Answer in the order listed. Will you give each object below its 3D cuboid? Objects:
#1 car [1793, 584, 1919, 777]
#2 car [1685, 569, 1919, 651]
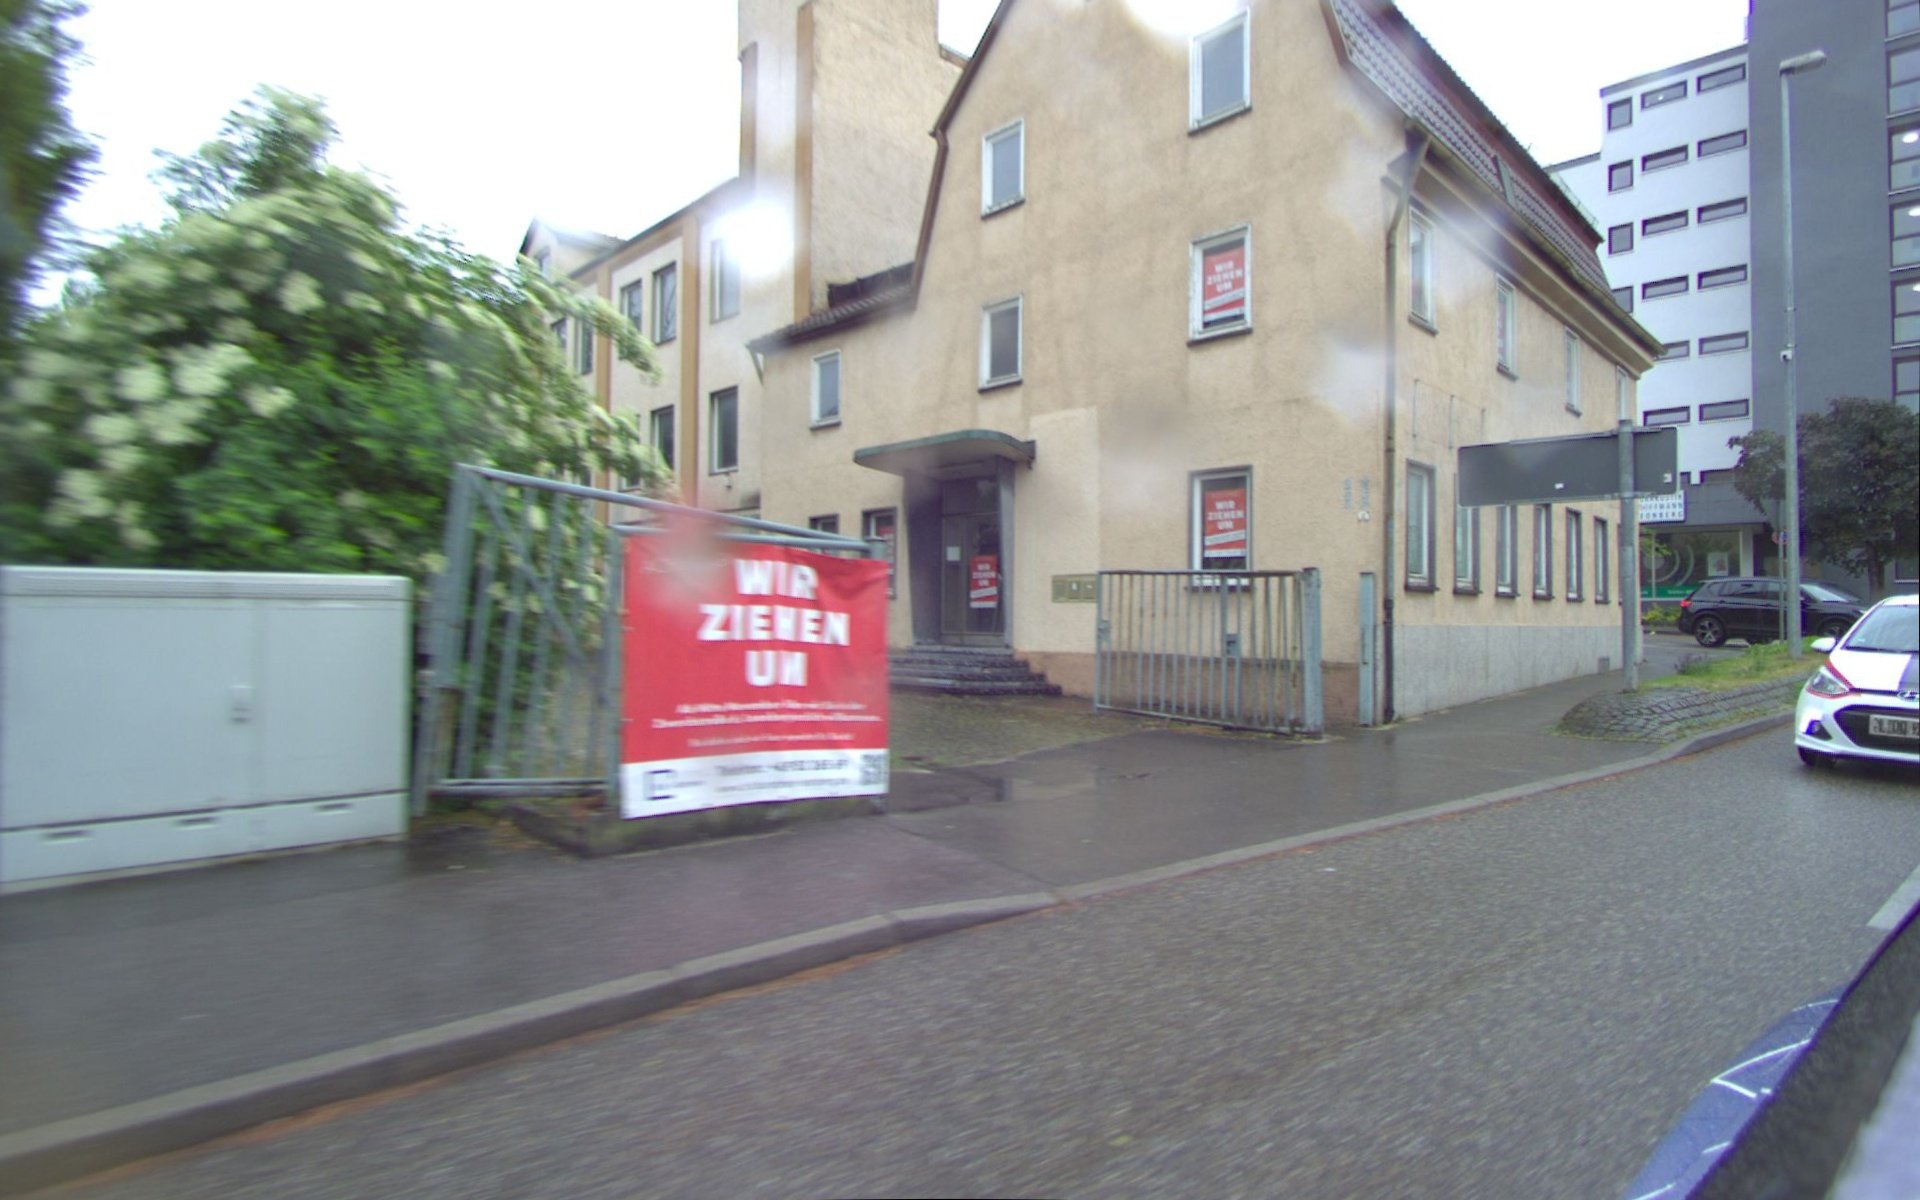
[{"bbox_3d":[8.939,0.602,8.747,3.691,1.471,1.712,-1,0,-34],"label":"car"},{"bbox_3d":[19.066,0.129,22.727,1.683,1.592,4.430,-2,2,-17],"label":"car"}]
